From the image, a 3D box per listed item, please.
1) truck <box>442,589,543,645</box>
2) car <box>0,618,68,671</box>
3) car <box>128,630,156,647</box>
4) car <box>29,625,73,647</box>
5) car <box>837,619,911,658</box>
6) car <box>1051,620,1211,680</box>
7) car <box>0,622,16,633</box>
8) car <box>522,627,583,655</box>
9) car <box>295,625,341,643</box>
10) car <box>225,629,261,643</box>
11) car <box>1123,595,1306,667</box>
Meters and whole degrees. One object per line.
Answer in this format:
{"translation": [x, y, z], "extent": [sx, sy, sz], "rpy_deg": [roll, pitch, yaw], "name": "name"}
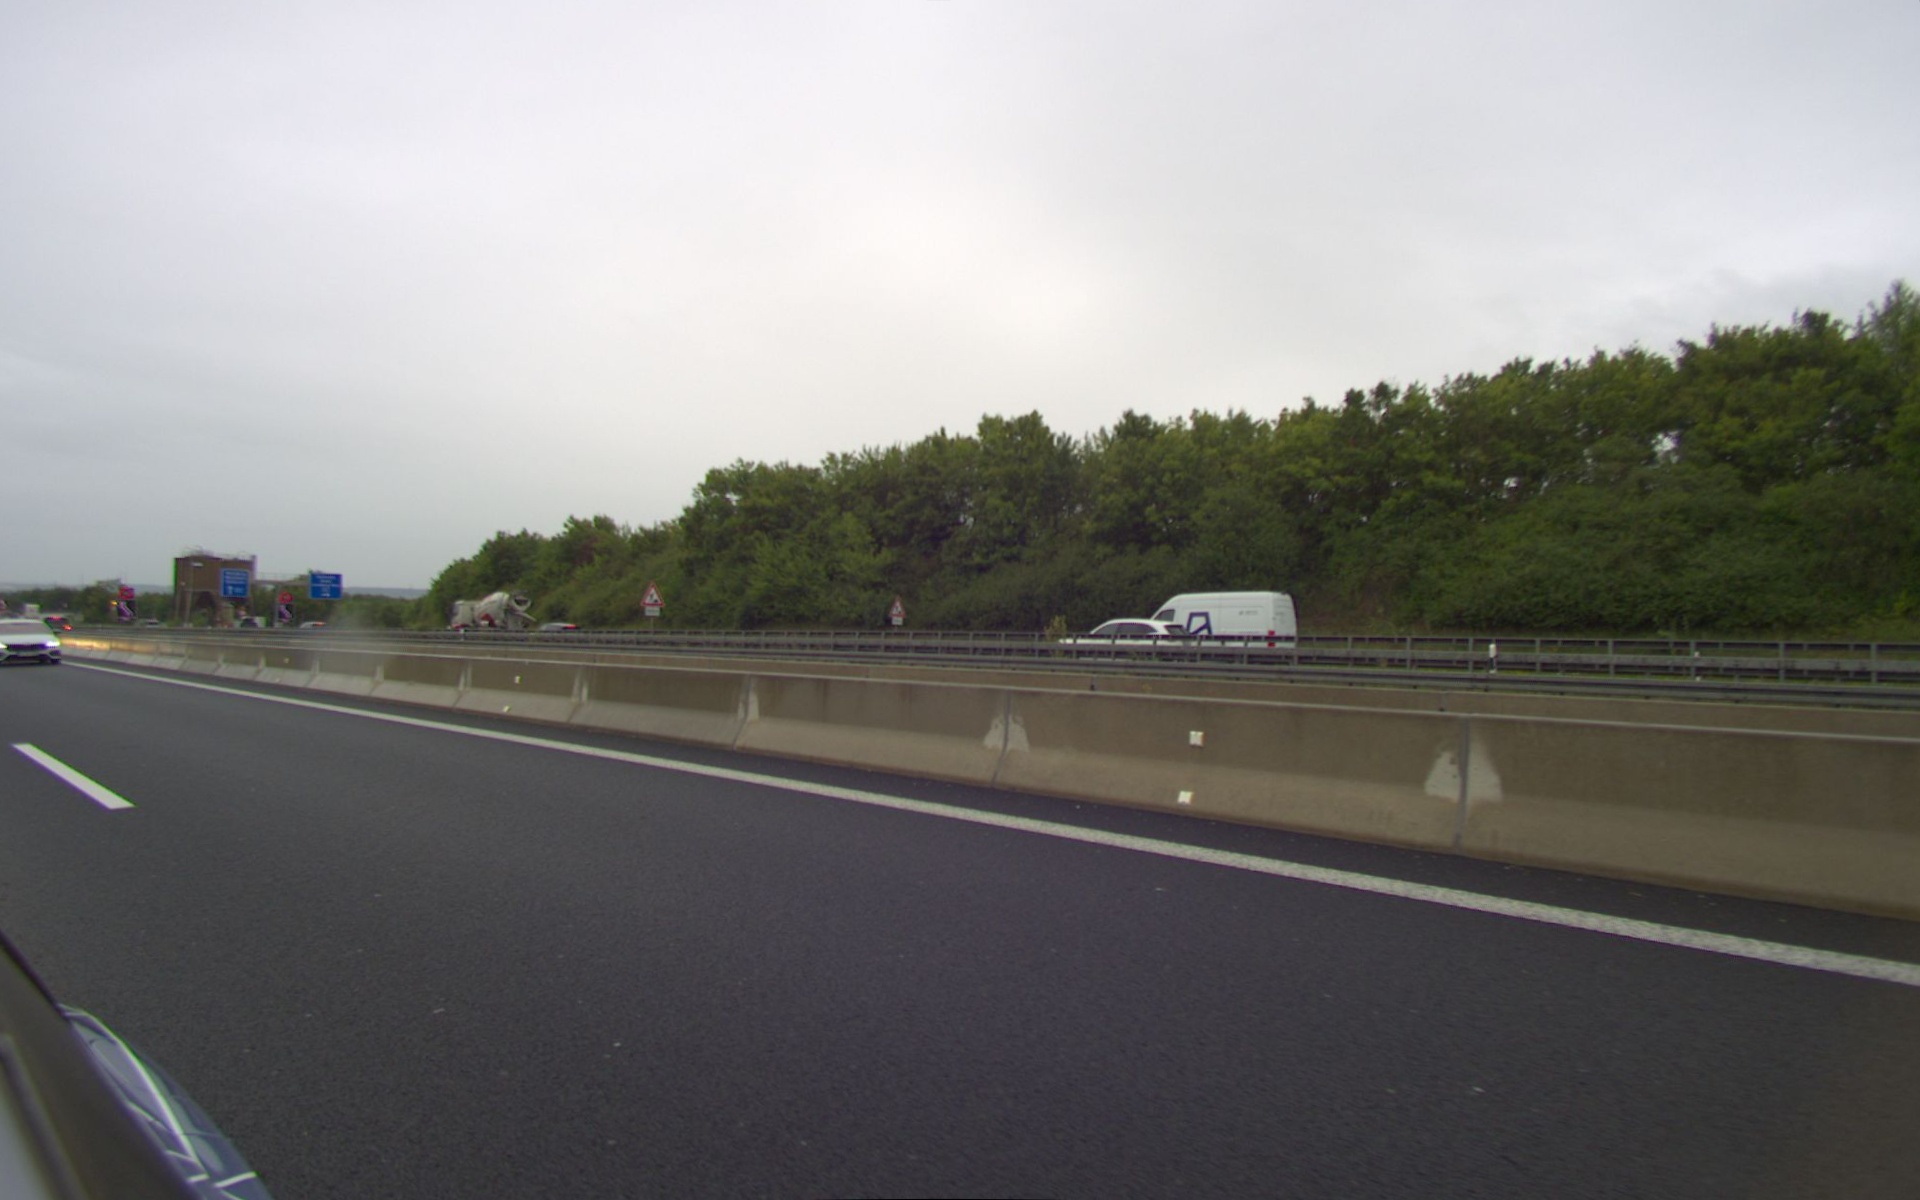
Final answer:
{"translation": [-32.849, 1.247, 70.839], "extent": [9.551, 3.689, 2.657], "rpy_deg": [-1, -2, 41], "name": "truck"}
{"translation": [-30.540, 1.408, 32.643], "extent": [4.813, 1.603, 1.973], "rpy_deg": [-2, -1, 40], "name": "car"}
{"translation": [-103.470, 4.815, 127.972], "extent": [4.712, 2.029, 1.973], "rpy_deg": [-1, -1, 40], "name": "car"}
{"translation": [-73.416, 2.910, 81.701], "extent": [5.023, 1.663, 1.973], "rpy_deg": [-1, 0, 40], "name": "car"}
{"translation": [-4.694, 2.060, 54.768], "extent": [3.999, 2.029, 1.731], "rpy_deg": [-1, -2, 42], "name": "car"}
{"translation": [5.291, 1.500, 31.660], "extent": [4.579, 1.750, 1.973], "rpy_deg": [-1, -2, 40], "name": "car"}
{"translation": [-123.687, 3.559, 130.768], "extent": [4.677, 1.446, 1.973], "rpy_deg": [-1, 0, 41], "name": "car"}
{"translation": [-22.539, 2.244, 55.867], "extent": [3.917, 1.436, 1.573], "rpy_deg": [-1, -1, 42], "name": "car"}
{"translation": [-52.941, 2.757, 83.429], "extent": [4.675, 1.417, 1.972], "rpy_deg": [-1, -2, 42], "name": "car"}
{"translation": [-71.607, 3.569, 101.060], "extent": [4.675, 1.417, 1.972], "rpy_deg": [-1, -2, 42], "name": "car"}
{"translation": [8.445, 1.016, 34.036], "extent": [5.712, 2.230, 1.973], "rpy_deg": [-1, -2, 41], "name": "car"}
